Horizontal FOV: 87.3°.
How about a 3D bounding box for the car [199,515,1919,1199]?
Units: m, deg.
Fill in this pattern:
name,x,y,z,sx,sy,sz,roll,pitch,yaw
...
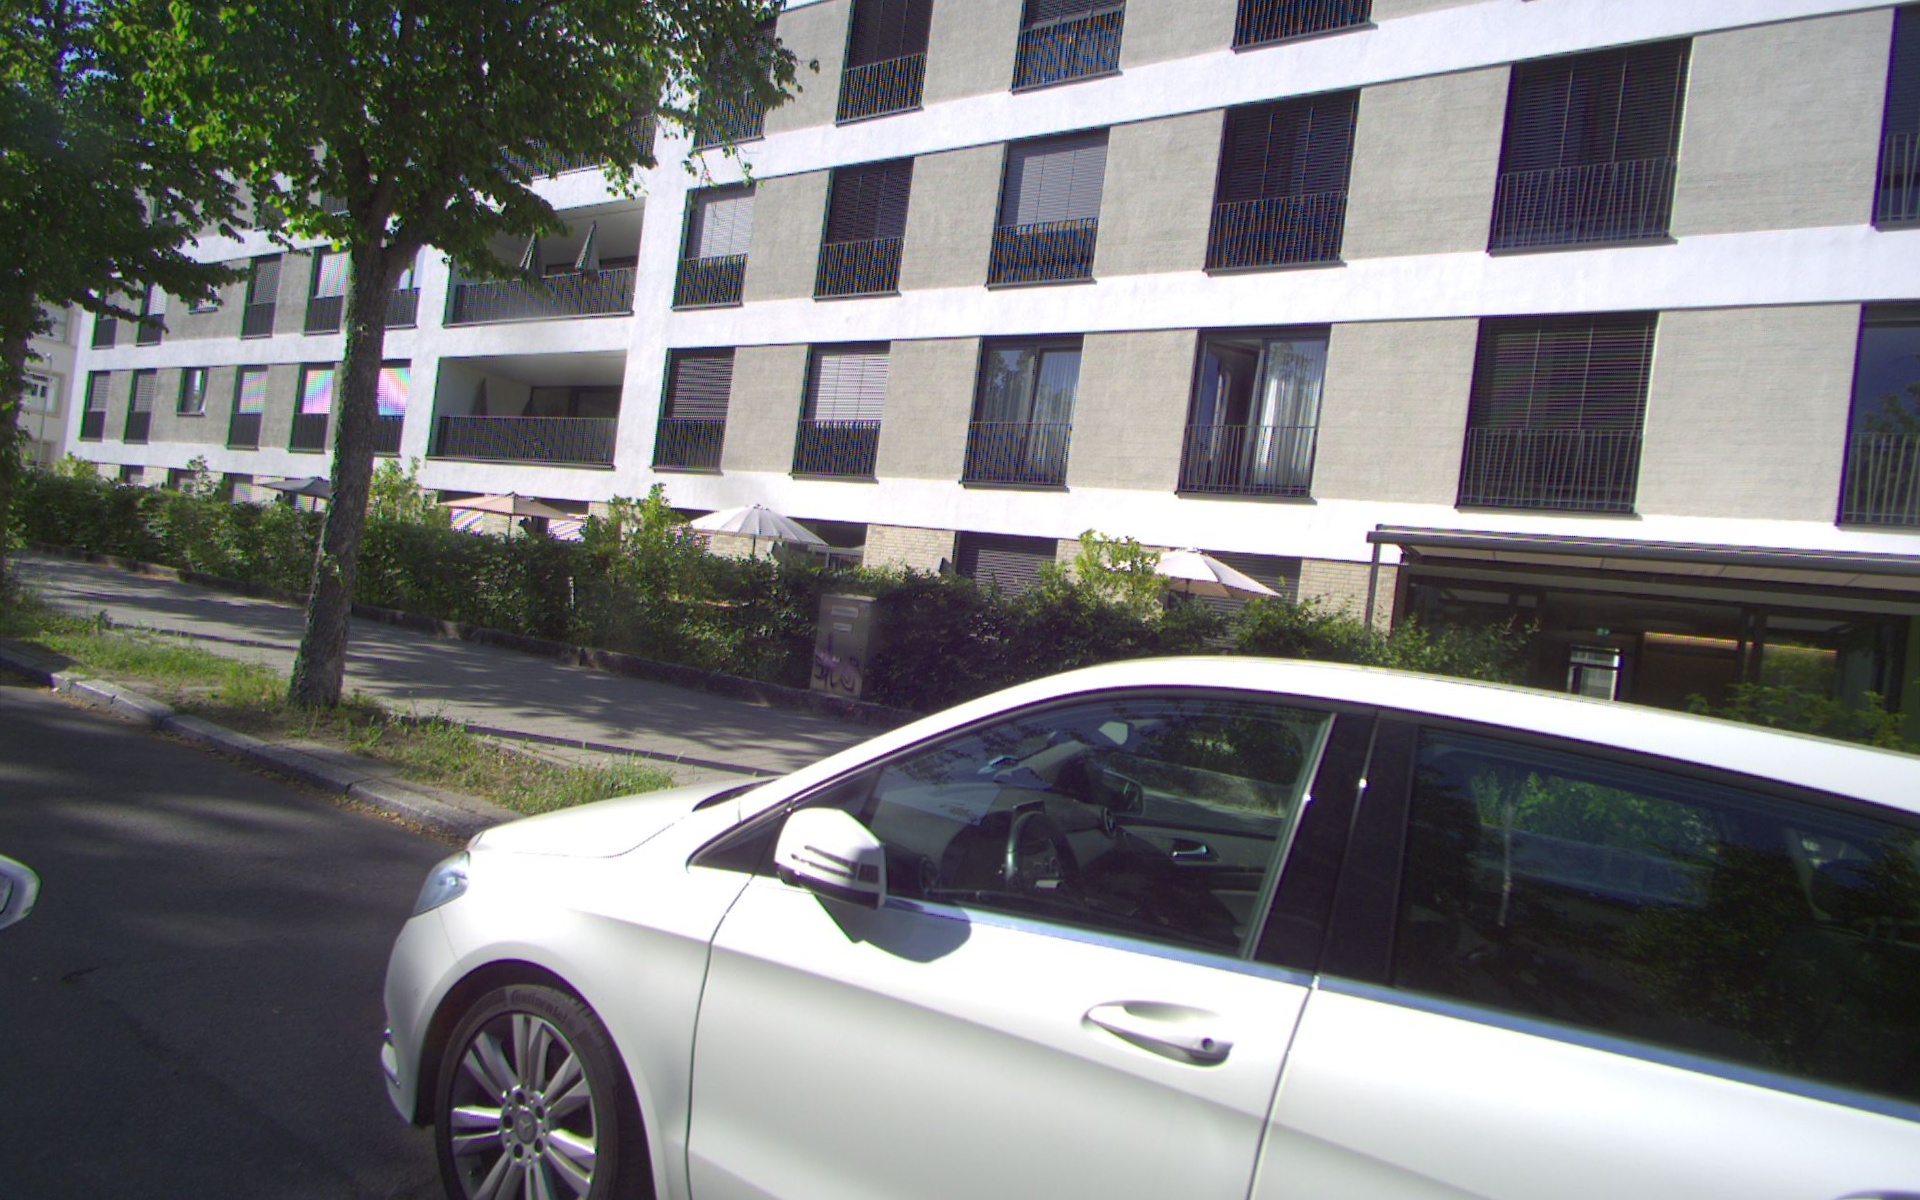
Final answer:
name,x,y,z,sx,sy,sz,roll,pitch,yaw
car,0.567,0.877,2.345,4.605,1.535,1.786,7,-1,27
